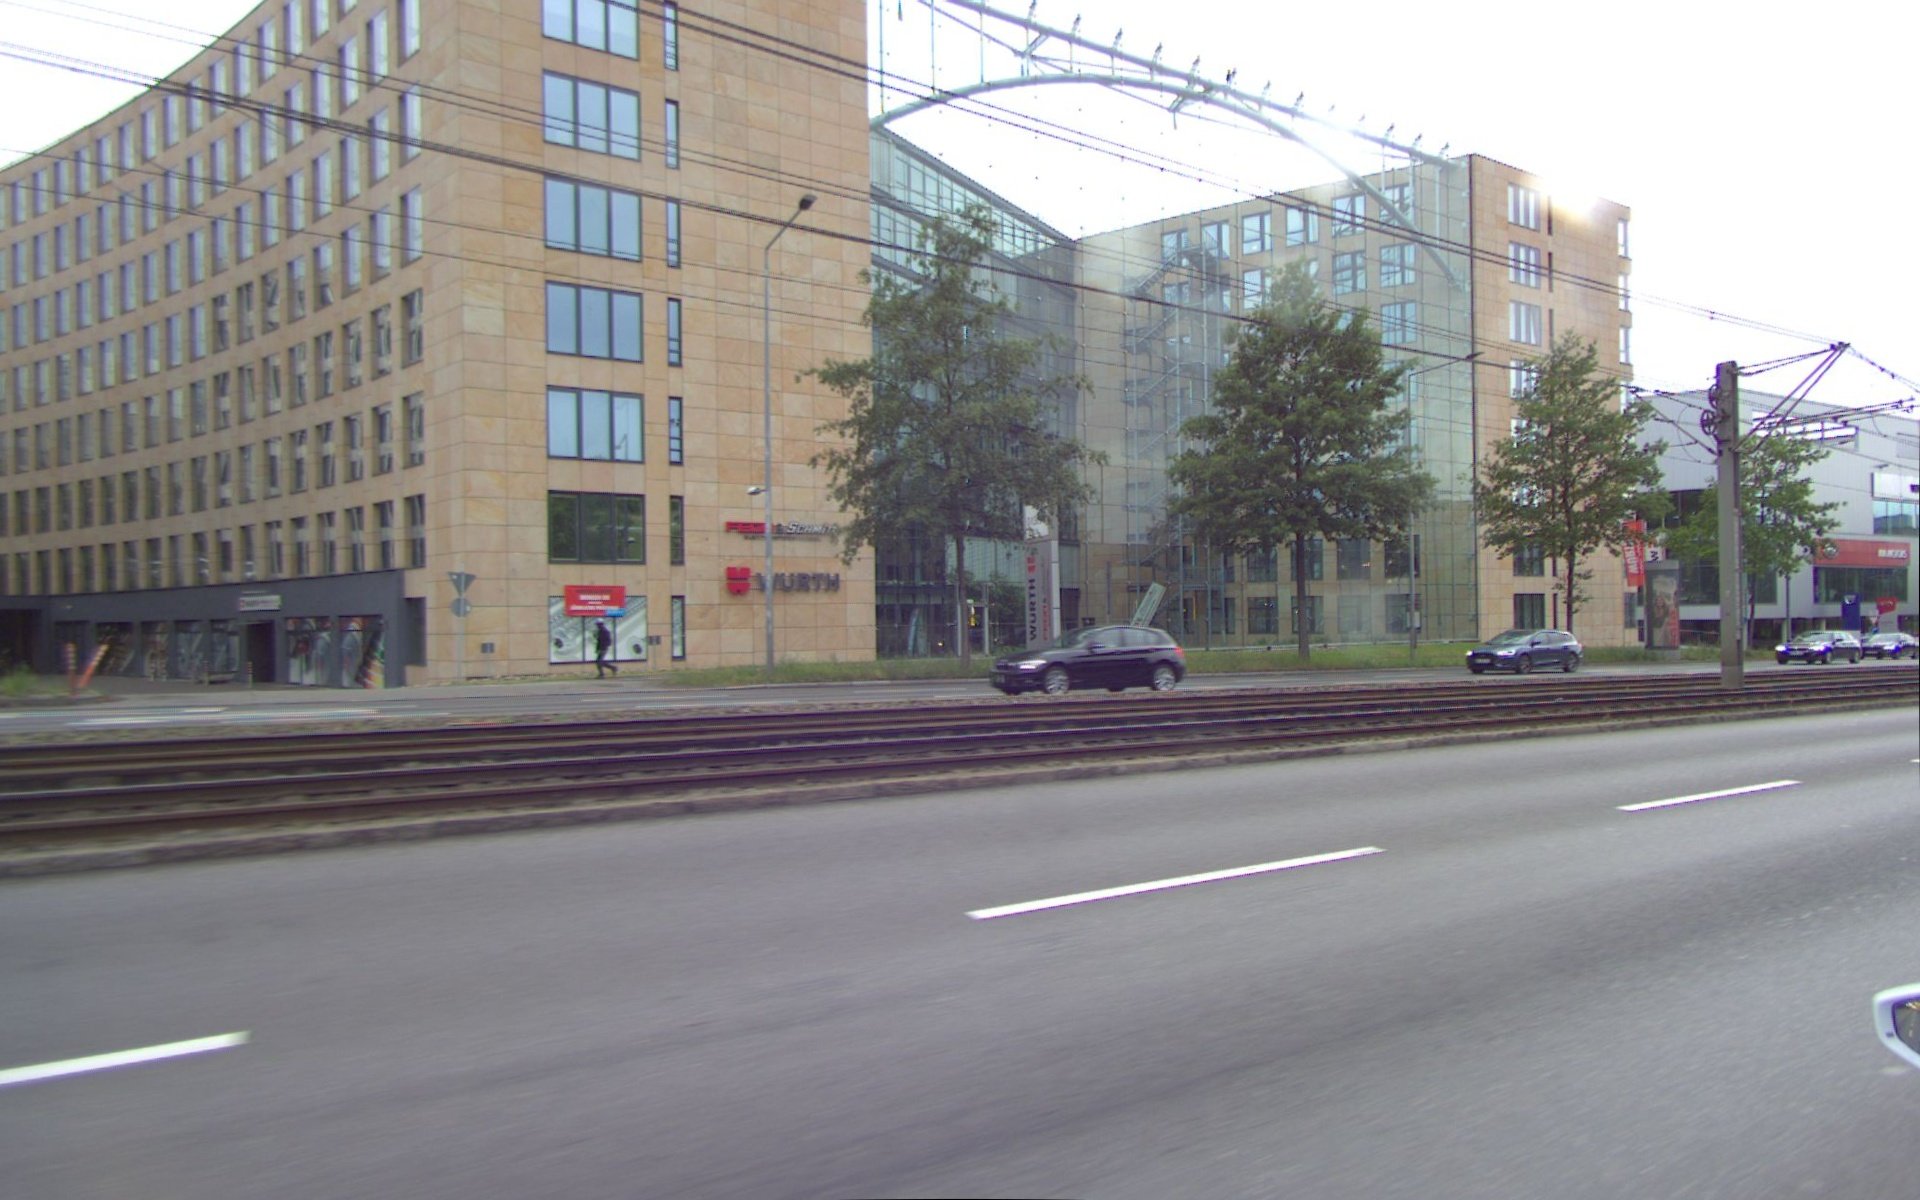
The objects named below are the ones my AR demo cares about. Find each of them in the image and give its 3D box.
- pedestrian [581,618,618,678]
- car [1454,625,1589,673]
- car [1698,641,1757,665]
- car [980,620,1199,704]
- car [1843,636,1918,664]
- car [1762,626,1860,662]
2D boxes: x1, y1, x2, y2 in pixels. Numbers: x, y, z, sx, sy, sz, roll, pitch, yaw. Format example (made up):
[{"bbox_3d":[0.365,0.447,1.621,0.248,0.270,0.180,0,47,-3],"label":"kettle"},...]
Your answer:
[{"bbox_3d":[-10.321,1.377,28.743,0.823,1.653,0.638,3,-1,-33],"label":"pedestrian"},{"bbox_3d":[18.856,1.634,33.709,4.598,1.505,1.833,1,-4,-30],"label":"car"},{"bbox_3d":[60.849,4.209,79.630,4.881,1.748,1.985,2,0,-29],"label":"car"},{"bbox_3d":[2.661,1.270,20.440,4.148,1.521,1.765,3,-1,-28],"label":"car"},{"bbox_3d":[51.426,2.796,56.098,4.377,1.505,1.833,1,-4,-30],"label":"car"},{"bbox_3d":[37.902,1.968,44.701,4.598,1.505,1.833,1,-4,-30],"label":"car"}]
